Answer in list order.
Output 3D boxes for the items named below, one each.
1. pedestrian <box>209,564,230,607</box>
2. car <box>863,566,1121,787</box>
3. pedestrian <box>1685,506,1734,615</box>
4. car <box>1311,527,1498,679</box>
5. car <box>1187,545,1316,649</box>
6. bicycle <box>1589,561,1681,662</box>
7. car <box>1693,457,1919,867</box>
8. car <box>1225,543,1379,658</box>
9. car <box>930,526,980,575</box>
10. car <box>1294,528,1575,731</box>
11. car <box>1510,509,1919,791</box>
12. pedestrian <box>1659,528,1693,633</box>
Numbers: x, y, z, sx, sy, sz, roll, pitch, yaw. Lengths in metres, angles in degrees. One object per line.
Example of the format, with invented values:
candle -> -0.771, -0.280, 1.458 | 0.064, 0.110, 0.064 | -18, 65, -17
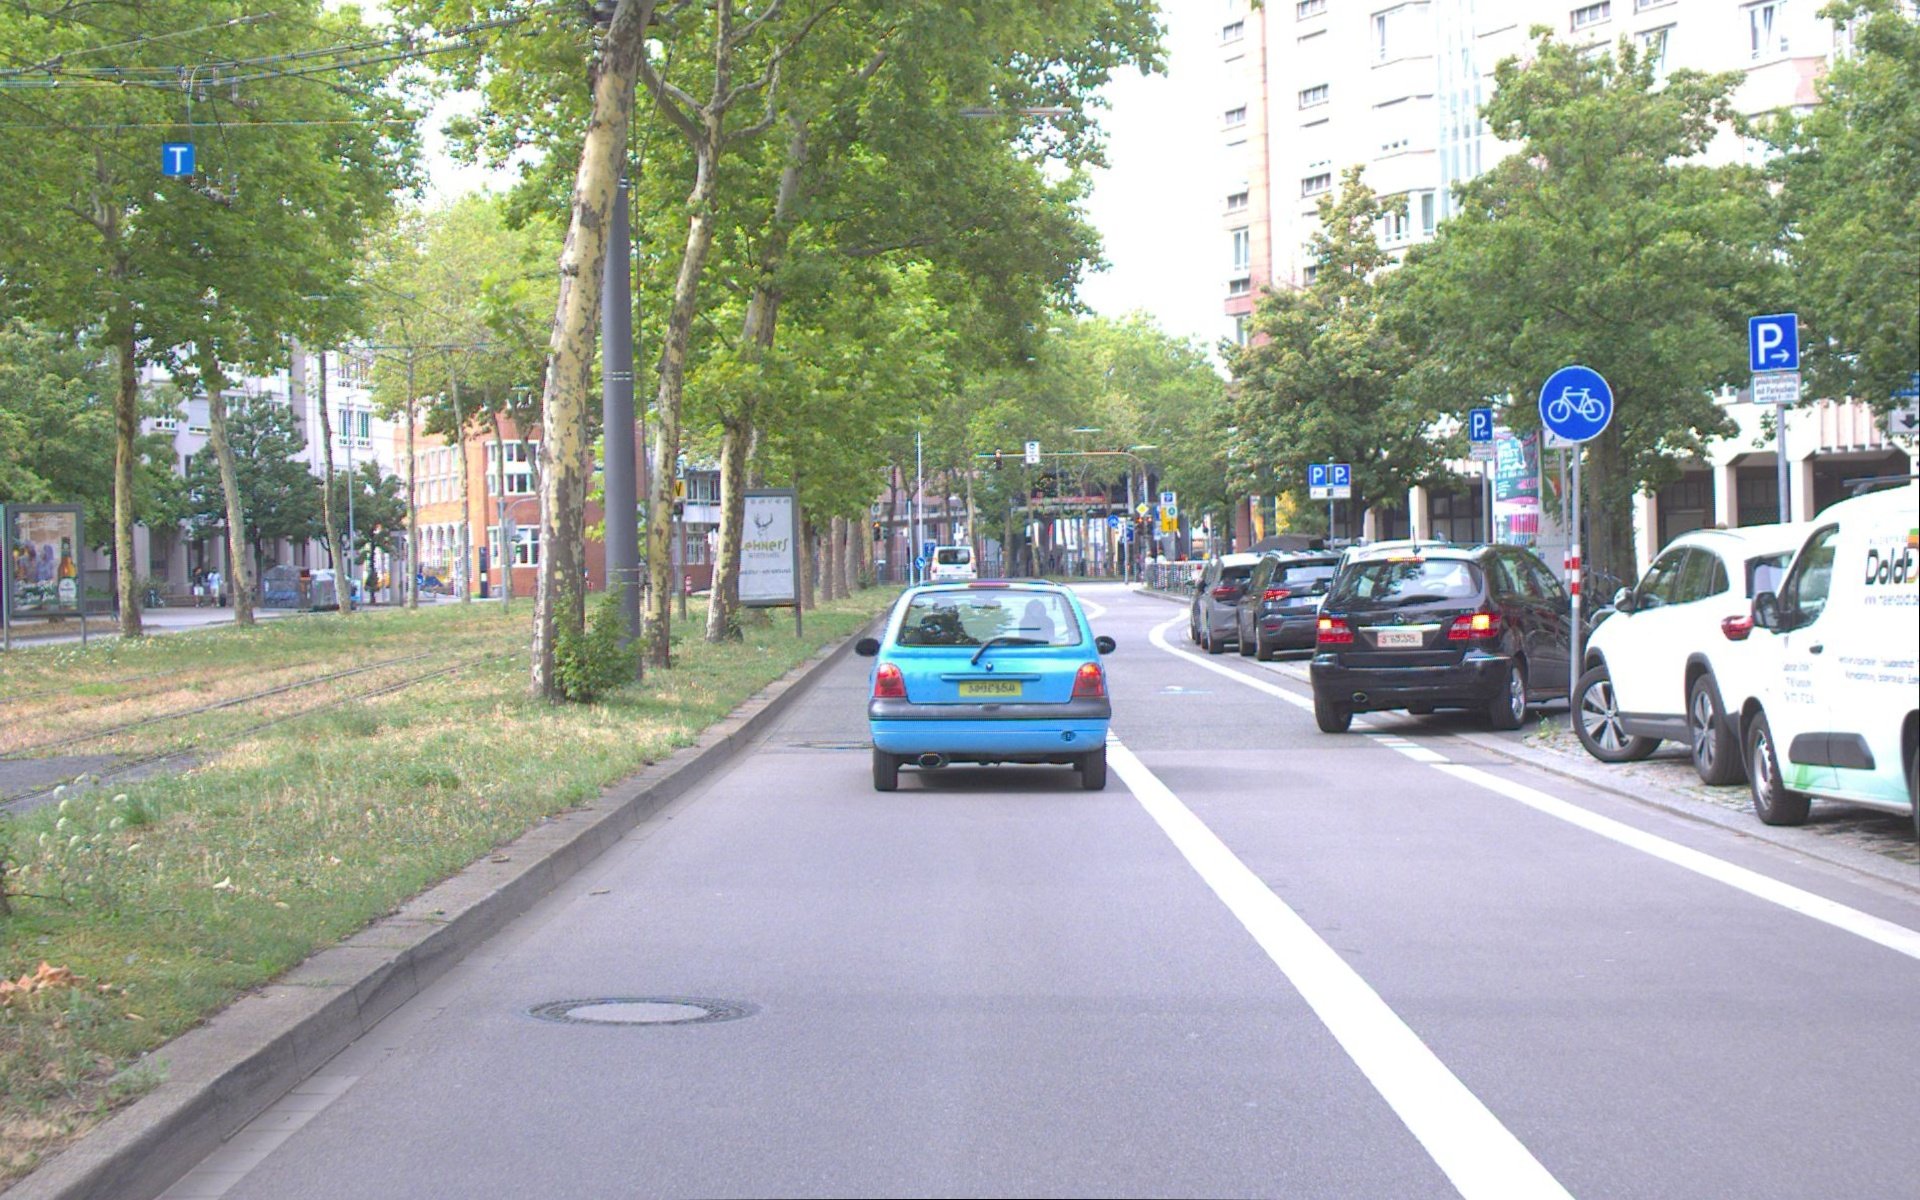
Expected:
pedestrian -> -29.786, -0.595, 138.351 | 0.552, 1.699, 0.884 | -1, 1, 5
car -> 0.239, 0.471, 23.953 | 1.640, 1.381, 3.843 | -1, 1, 1
pedestrian -> 10.842, -0.566, 49.742 | 0.516, 1.564, 0.479 | -1, 1, 36
car -> 5.223, -0.007, 40.869 | 1.861, 1.647, 4.163 | -2, 1, 3
car -> 4.658, -0.081, 55.414 | 1.740, 1.513, 4.401 | -2, 1, 1
bicycle -> 7.242, 0.110, 36.934 | 0.605, 1.026, 1.866 | -1, 1, 0
car -> 5.165, 0.208, 17.025 | 1.826, 1.858, 4.648 | -3, 1, -2
car -> 4.955, -0.031, 50.268 | 1.715, 1.513, 4.204 | -3, 1, 0
car -> -0.191, -2.039, 139.837 | 1.932, 1.919, 4.956 | -1, 1, 0
car -> 4.324, 0.209, 30.782 | 1.776, 1.571, 4.301 | -3, 1, 17
car -> 5.318, 0.258, 23.311 | 1.994, 1.597, 4.584 | -4, 1, -5
pedestrian -> 10.220, -0.281, 49.087 | 0.411, 1.474, 0.503 | -1, 1, 7
